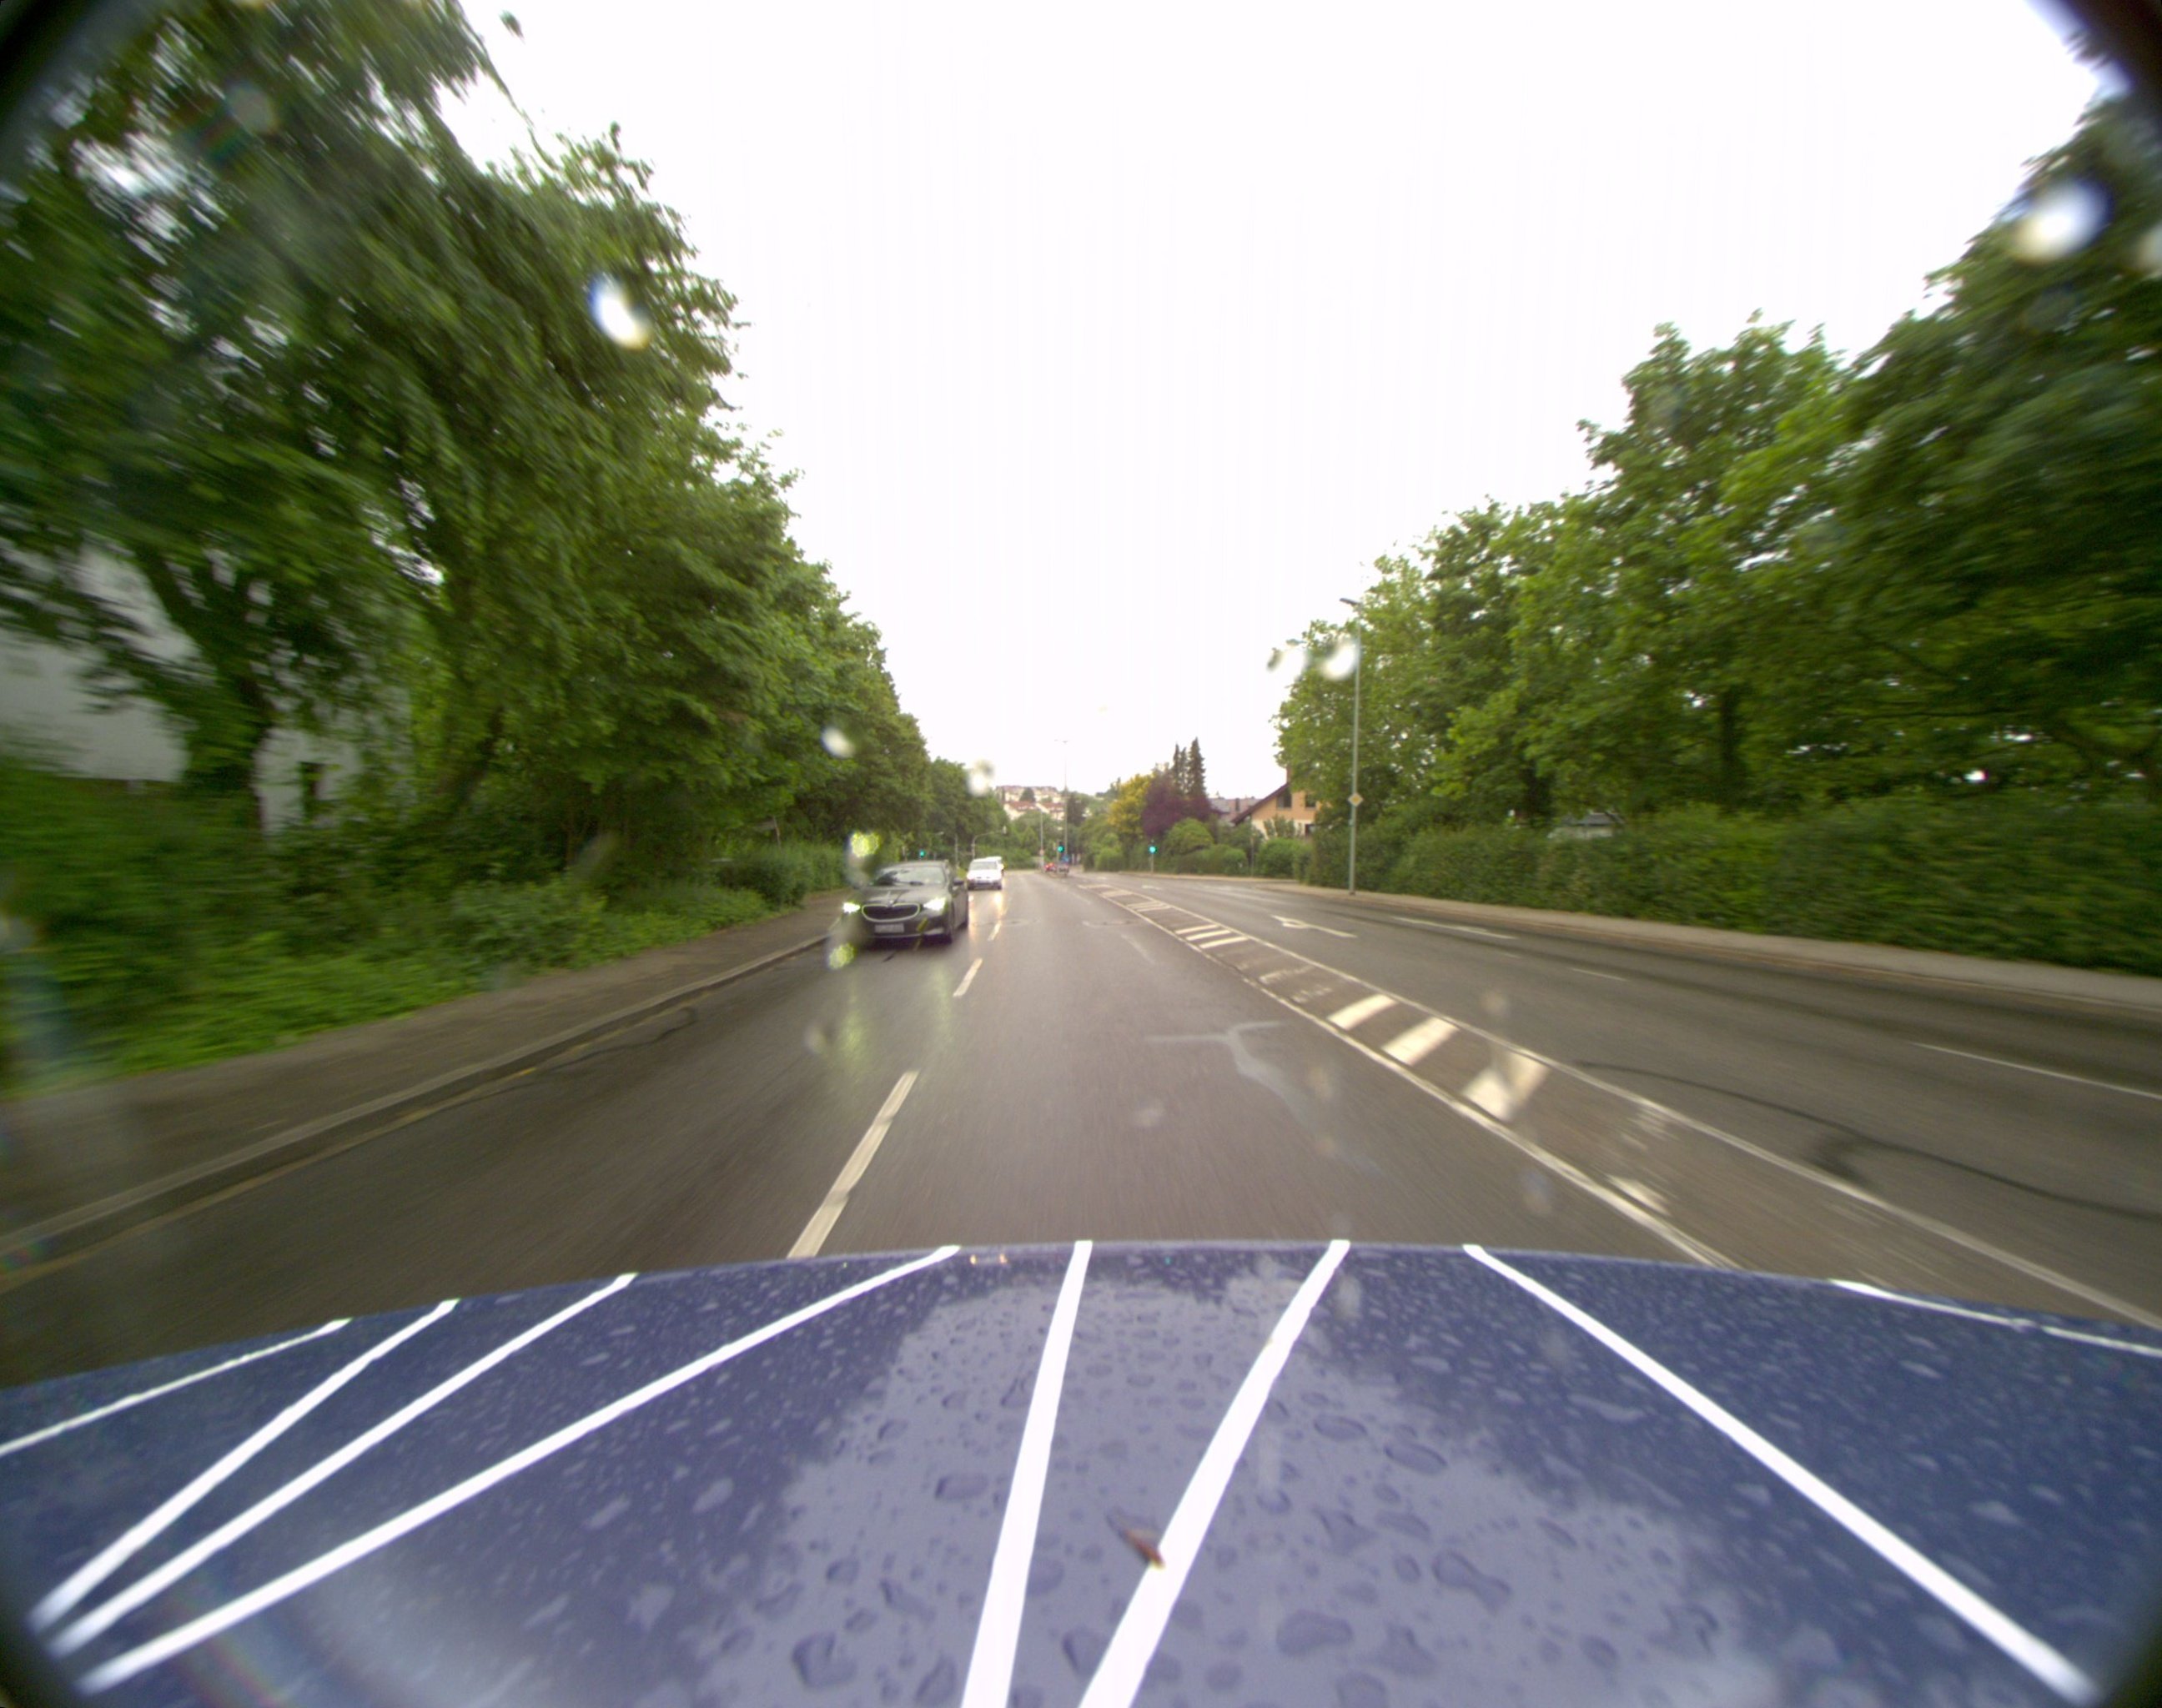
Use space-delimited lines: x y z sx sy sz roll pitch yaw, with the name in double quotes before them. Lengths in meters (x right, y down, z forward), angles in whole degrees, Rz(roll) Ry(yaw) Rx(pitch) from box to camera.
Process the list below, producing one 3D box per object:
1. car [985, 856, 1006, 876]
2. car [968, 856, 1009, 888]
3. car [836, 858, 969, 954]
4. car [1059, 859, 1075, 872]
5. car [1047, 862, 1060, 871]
"car" -8.073 1.103 71.847 1.815 1.797 4.118 0 0 -5
"car" -4.614 0.886 38.380 1.815 1.546 4.118 0 0 -4
"car" -3.262 0.874 14.688 1.868 1.546 4.117 0 0 -4
"car" -1.857 1.489 99.818 1.800 1.593 3.730 0 0 -6
"car" -4.851 2.160 134.200 2.031 1.554 3.875 0 0 -5
